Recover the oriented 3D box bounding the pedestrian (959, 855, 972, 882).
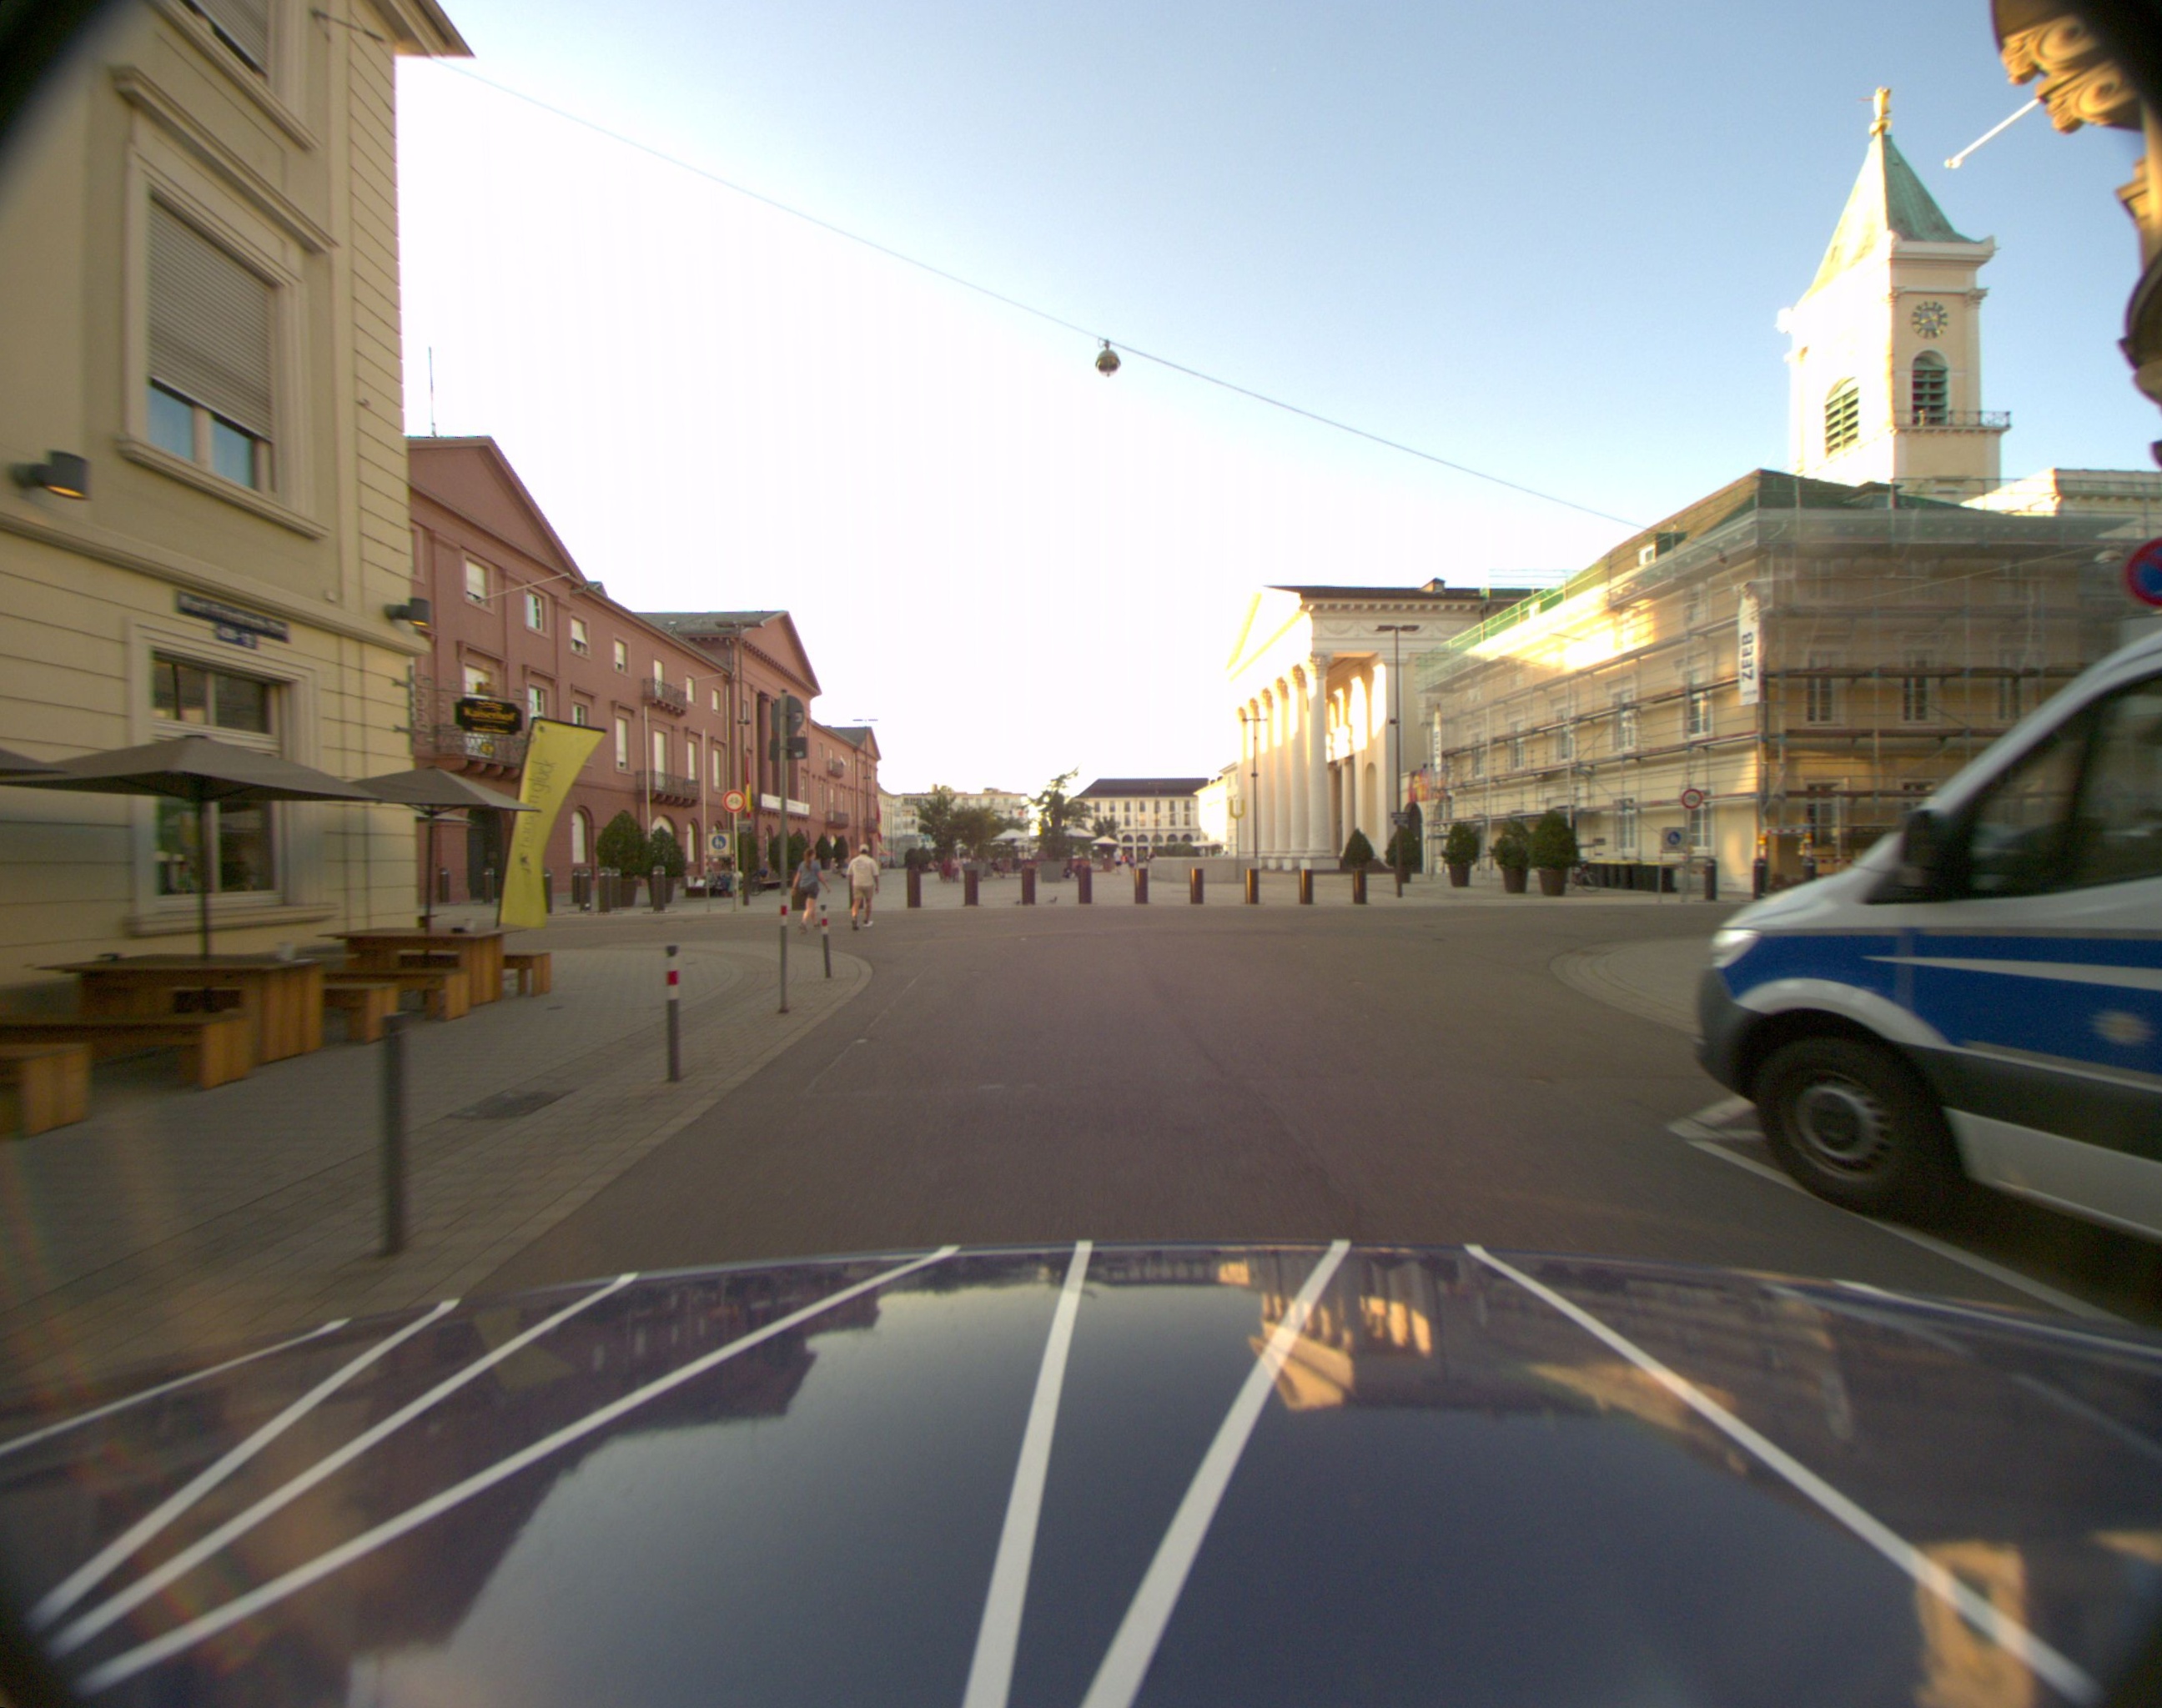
[{"bbox_3d":[-6.604,0.830,43.476,0.684,1.550,0.652,-1,1,-5],"label":"pedestrian"}]

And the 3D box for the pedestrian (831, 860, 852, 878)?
[{"bbox_3d":[-17.581,1.067,55.756,1.406,1.255,1.325,-1,1,-15],"label":"pedestrian"}]

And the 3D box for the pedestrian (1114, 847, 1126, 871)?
[{"bbox_3d":[2.850,0.382,55.713,0.856,1.720,0.881,-1,1,1],"label":"pedestrian"}]

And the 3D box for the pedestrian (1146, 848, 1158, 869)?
[{"bbox_3d":[6.626,0.395,70.831,1.092,1.900,0.881,-1,1,1],"label":"pedestrian"}]

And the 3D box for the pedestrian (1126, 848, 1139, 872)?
[{"bbox_3d":[3.733,0.454,55.137,0.856,1.720,0.881,-1,1,1],"label":"pedestrian"}]

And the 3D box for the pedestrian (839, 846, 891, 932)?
[{"bbox_3d":[-4.437,0.698,15.618,0.667,1.720,0.767,0,1,40],"label":"pedestrian"}]

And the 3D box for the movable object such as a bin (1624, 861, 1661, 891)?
[{"bbox_3d":[20.407,0.794,27.624,0.811,1.071,0.722,-1,1,0],"label":"movable object such as a bin"}]

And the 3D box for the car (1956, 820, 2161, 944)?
[{"bbox_3d":[18.533,0.445,13.319,3.996,2.002,2.000,-1,0,1],"label":"car"}]

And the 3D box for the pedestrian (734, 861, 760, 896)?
[{"bbox_3d":[-13.972,1.027,31.775,0.828,1.439,0.585,0,1,30],"label":"pedestrian"}]

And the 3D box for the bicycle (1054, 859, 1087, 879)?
[{"bbox_3d":[-0.624,0.862,43.955,1.683,1.115,0.846,-1,1,31],"label":"bicycle"}]

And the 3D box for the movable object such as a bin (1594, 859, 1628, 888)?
[{"bbox_3d":[20.366,0.750,29.210,0.811,1.071,0.722,-1,1,0],"label":"movable object such as a bin"}]

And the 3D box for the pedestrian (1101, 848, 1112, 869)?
[{"bbox_3d":[2.120,0.390,63.436,0.856,1.720,0.881,-1,1,1],"label":"pedestrian"}]

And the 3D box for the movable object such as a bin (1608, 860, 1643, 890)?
[{"bbox_3d":[20.360,0.773,28.413,0.811,1.071,0.722,-1,1,0],"label":"movable object such as a bin"}]

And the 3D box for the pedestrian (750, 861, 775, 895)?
[{"bbox_3d":[-13.634,1.030,32.553,0.828,1.439,0.585,0,1,28],"label":"pedestrian"}]

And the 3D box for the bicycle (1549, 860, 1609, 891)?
[{"bbox_3d":[18.760,0.773,28.659,0.635,1.105,1.849,-1,1,-21],"label":"bicycle"}]

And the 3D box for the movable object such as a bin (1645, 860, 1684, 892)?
[{"bbox_3d":[20.440,0.768,26.616,0.811,1.071,0.722,-1,1,0],"label":"movable object such as a bin"}]

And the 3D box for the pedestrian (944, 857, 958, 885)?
[{"bbox_3d":[-7.417,0.953,43.420,0.684,1.557,0.652,-1,1,-5],"label":"pedestrian"}]

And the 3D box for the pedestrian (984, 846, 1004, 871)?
[{"bbox_3d":[-7.937,0.370,69.175,1.254,2.222,1.501,-1,1,-35],"label":"pedestrian"}]

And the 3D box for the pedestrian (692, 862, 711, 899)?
[{"bbox_3d":[-15.160,1.041,30.375,0.585,1.439,0.829,-1,1,-31],"label":"pedestrian"}]

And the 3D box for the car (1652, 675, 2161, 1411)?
[{"bbox_3d":[4.233,0.546,1.497,1.999,2.158,5.204,-1,0,-5],"label":"car"}]

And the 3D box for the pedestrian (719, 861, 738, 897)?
[{"bbox_3d":[-14.400,1.020,31.023,0.585,1.439,0.829,-1,1,-31],"label":"pedestrian"}]

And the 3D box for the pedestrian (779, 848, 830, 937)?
[{"bbox_3d":[-5.523,0.753,15.189,0.607,1.720,0.719,0,1,40],"label":"pedestrian"}]
